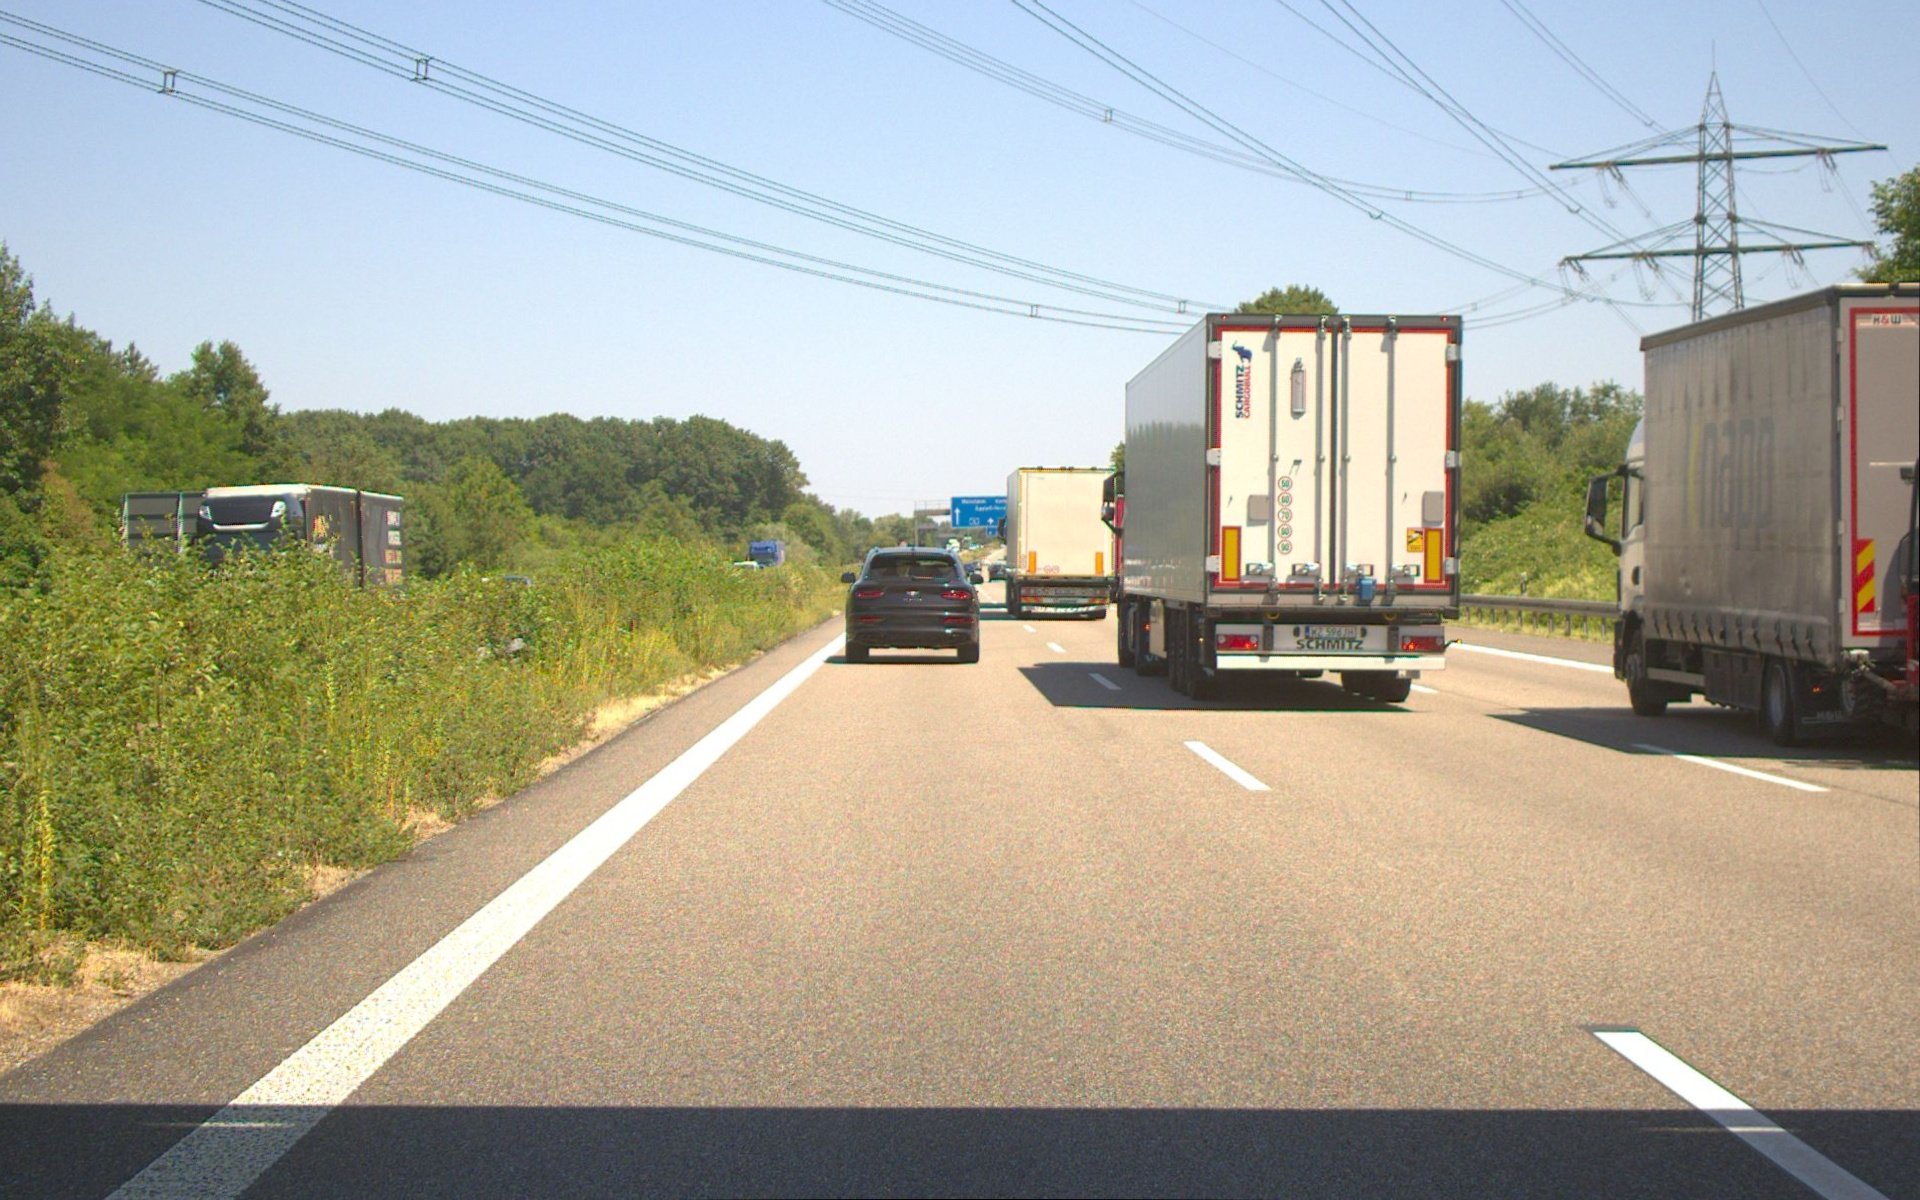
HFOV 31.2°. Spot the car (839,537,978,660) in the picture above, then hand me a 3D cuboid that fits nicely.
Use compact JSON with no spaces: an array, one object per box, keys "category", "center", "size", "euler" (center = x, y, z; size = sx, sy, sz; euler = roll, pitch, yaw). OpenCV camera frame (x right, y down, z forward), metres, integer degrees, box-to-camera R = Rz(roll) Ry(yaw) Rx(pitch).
[{"category":"car","center":[-0.819,-0.061,51.990],"size":[1.993,1.766,4.001],"euler":[0,1,-2]}]

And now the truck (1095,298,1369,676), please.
[{"category":"truck","center":[3.686,-1.505,48.205],"size":[3.087,4.868,6.598],"euler":[1,0,-1]}]

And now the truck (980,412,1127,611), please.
[{"category":"truck","center":[2.463,-2.385,94.735],"size":[3.512,5.149,10.259],"euler":[1,1,-1]}]

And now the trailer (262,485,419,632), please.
[{"category":"trailer","center":[-18.354,-1.213,102.494],"size":[2.766,4.082,10.298],"euler":[-2,0,0]}]

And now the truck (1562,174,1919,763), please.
[{"category":"truck","center":[8.319,-0.962,30.604],"size":[3.571,4.230,11.652],"euler":[1,0,-1]}]

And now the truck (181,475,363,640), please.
[{"category":"truck","center":[-18.311,-1.120,92.208],"size":[2.758,4.107,10.216],"euler":[-1,0,0]}]

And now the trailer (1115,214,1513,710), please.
[{"category":"trailer","center":[3.804,-1.433,40.394],"size":[3.087,4.868,12.259],"euler":[1,0,-1]}]

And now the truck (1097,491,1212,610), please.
[{"category":"truck","center":[7.654,-1.979,137.200],"size":[3.512,4.477,13.251],"euler":[1,1,-1]}]
